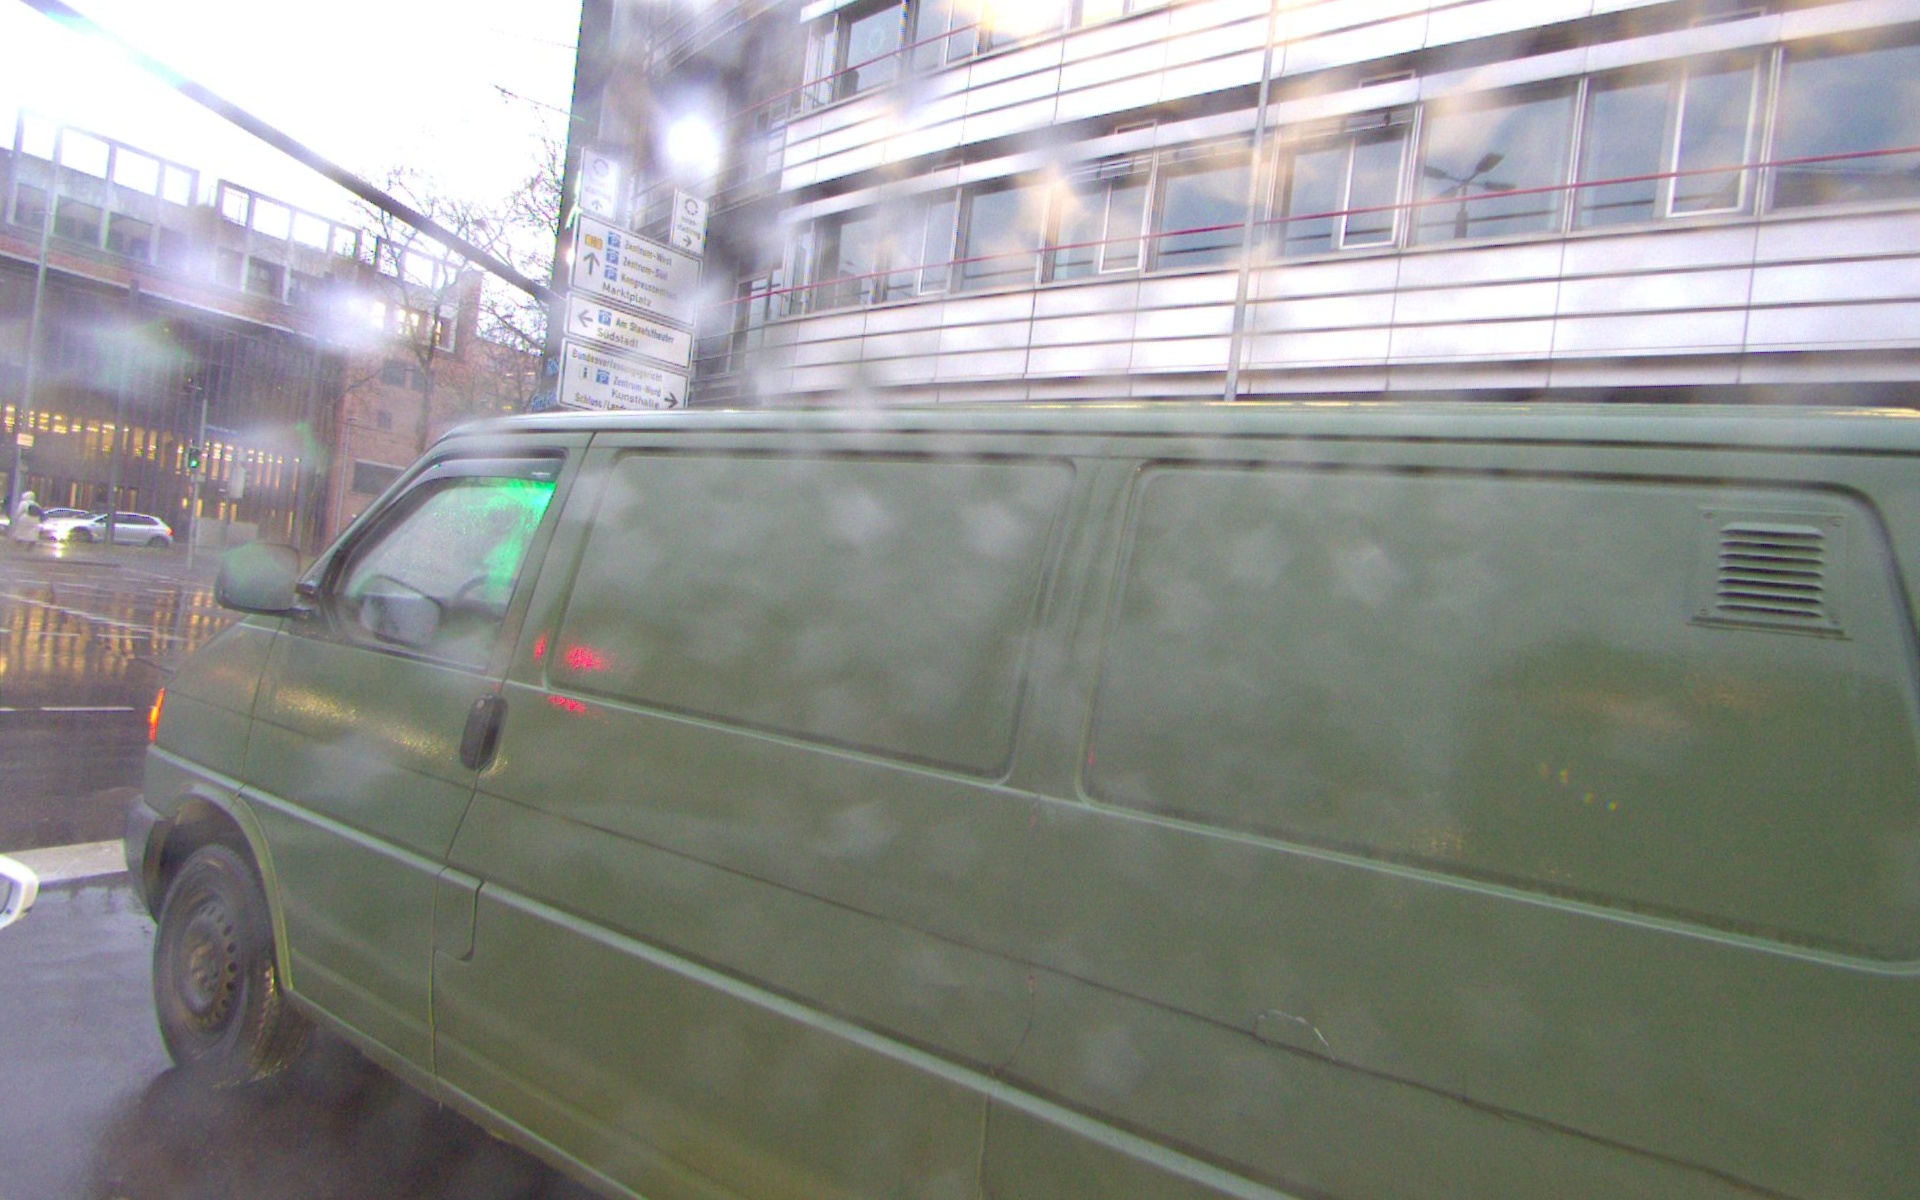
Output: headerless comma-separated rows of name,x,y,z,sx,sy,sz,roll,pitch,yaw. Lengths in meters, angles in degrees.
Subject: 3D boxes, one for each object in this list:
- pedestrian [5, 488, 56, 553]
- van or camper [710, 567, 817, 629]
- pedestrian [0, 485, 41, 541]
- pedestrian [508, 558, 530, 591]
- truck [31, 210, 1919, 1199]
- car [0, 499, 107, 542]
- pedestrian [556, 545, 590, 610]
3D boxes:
pedestrian,-27.903,-2.377,30.201,0.721,1.809,0.736,7,1,18
van or camper,-7.593,-0.004,39.379,1.807,1.952,4.750,7,-1,19
pedestrian,-32.742,-3.020,34.756,0.763,1.809,1.152,7,1,22
pedestrian,-19.648,-1.117,44.851,0.470,1.381,0.606,7,1,30
truck,-0.365,0.493,2.783,4.540,1.939,1.908,7,-2,31
car,-40.042,-3.496,43.803,1.781,1.326,3.993,7,-1,23
pedestrian,-11.426,-0.667,29.718,0.640,1.833,0.798,6,1,-12
